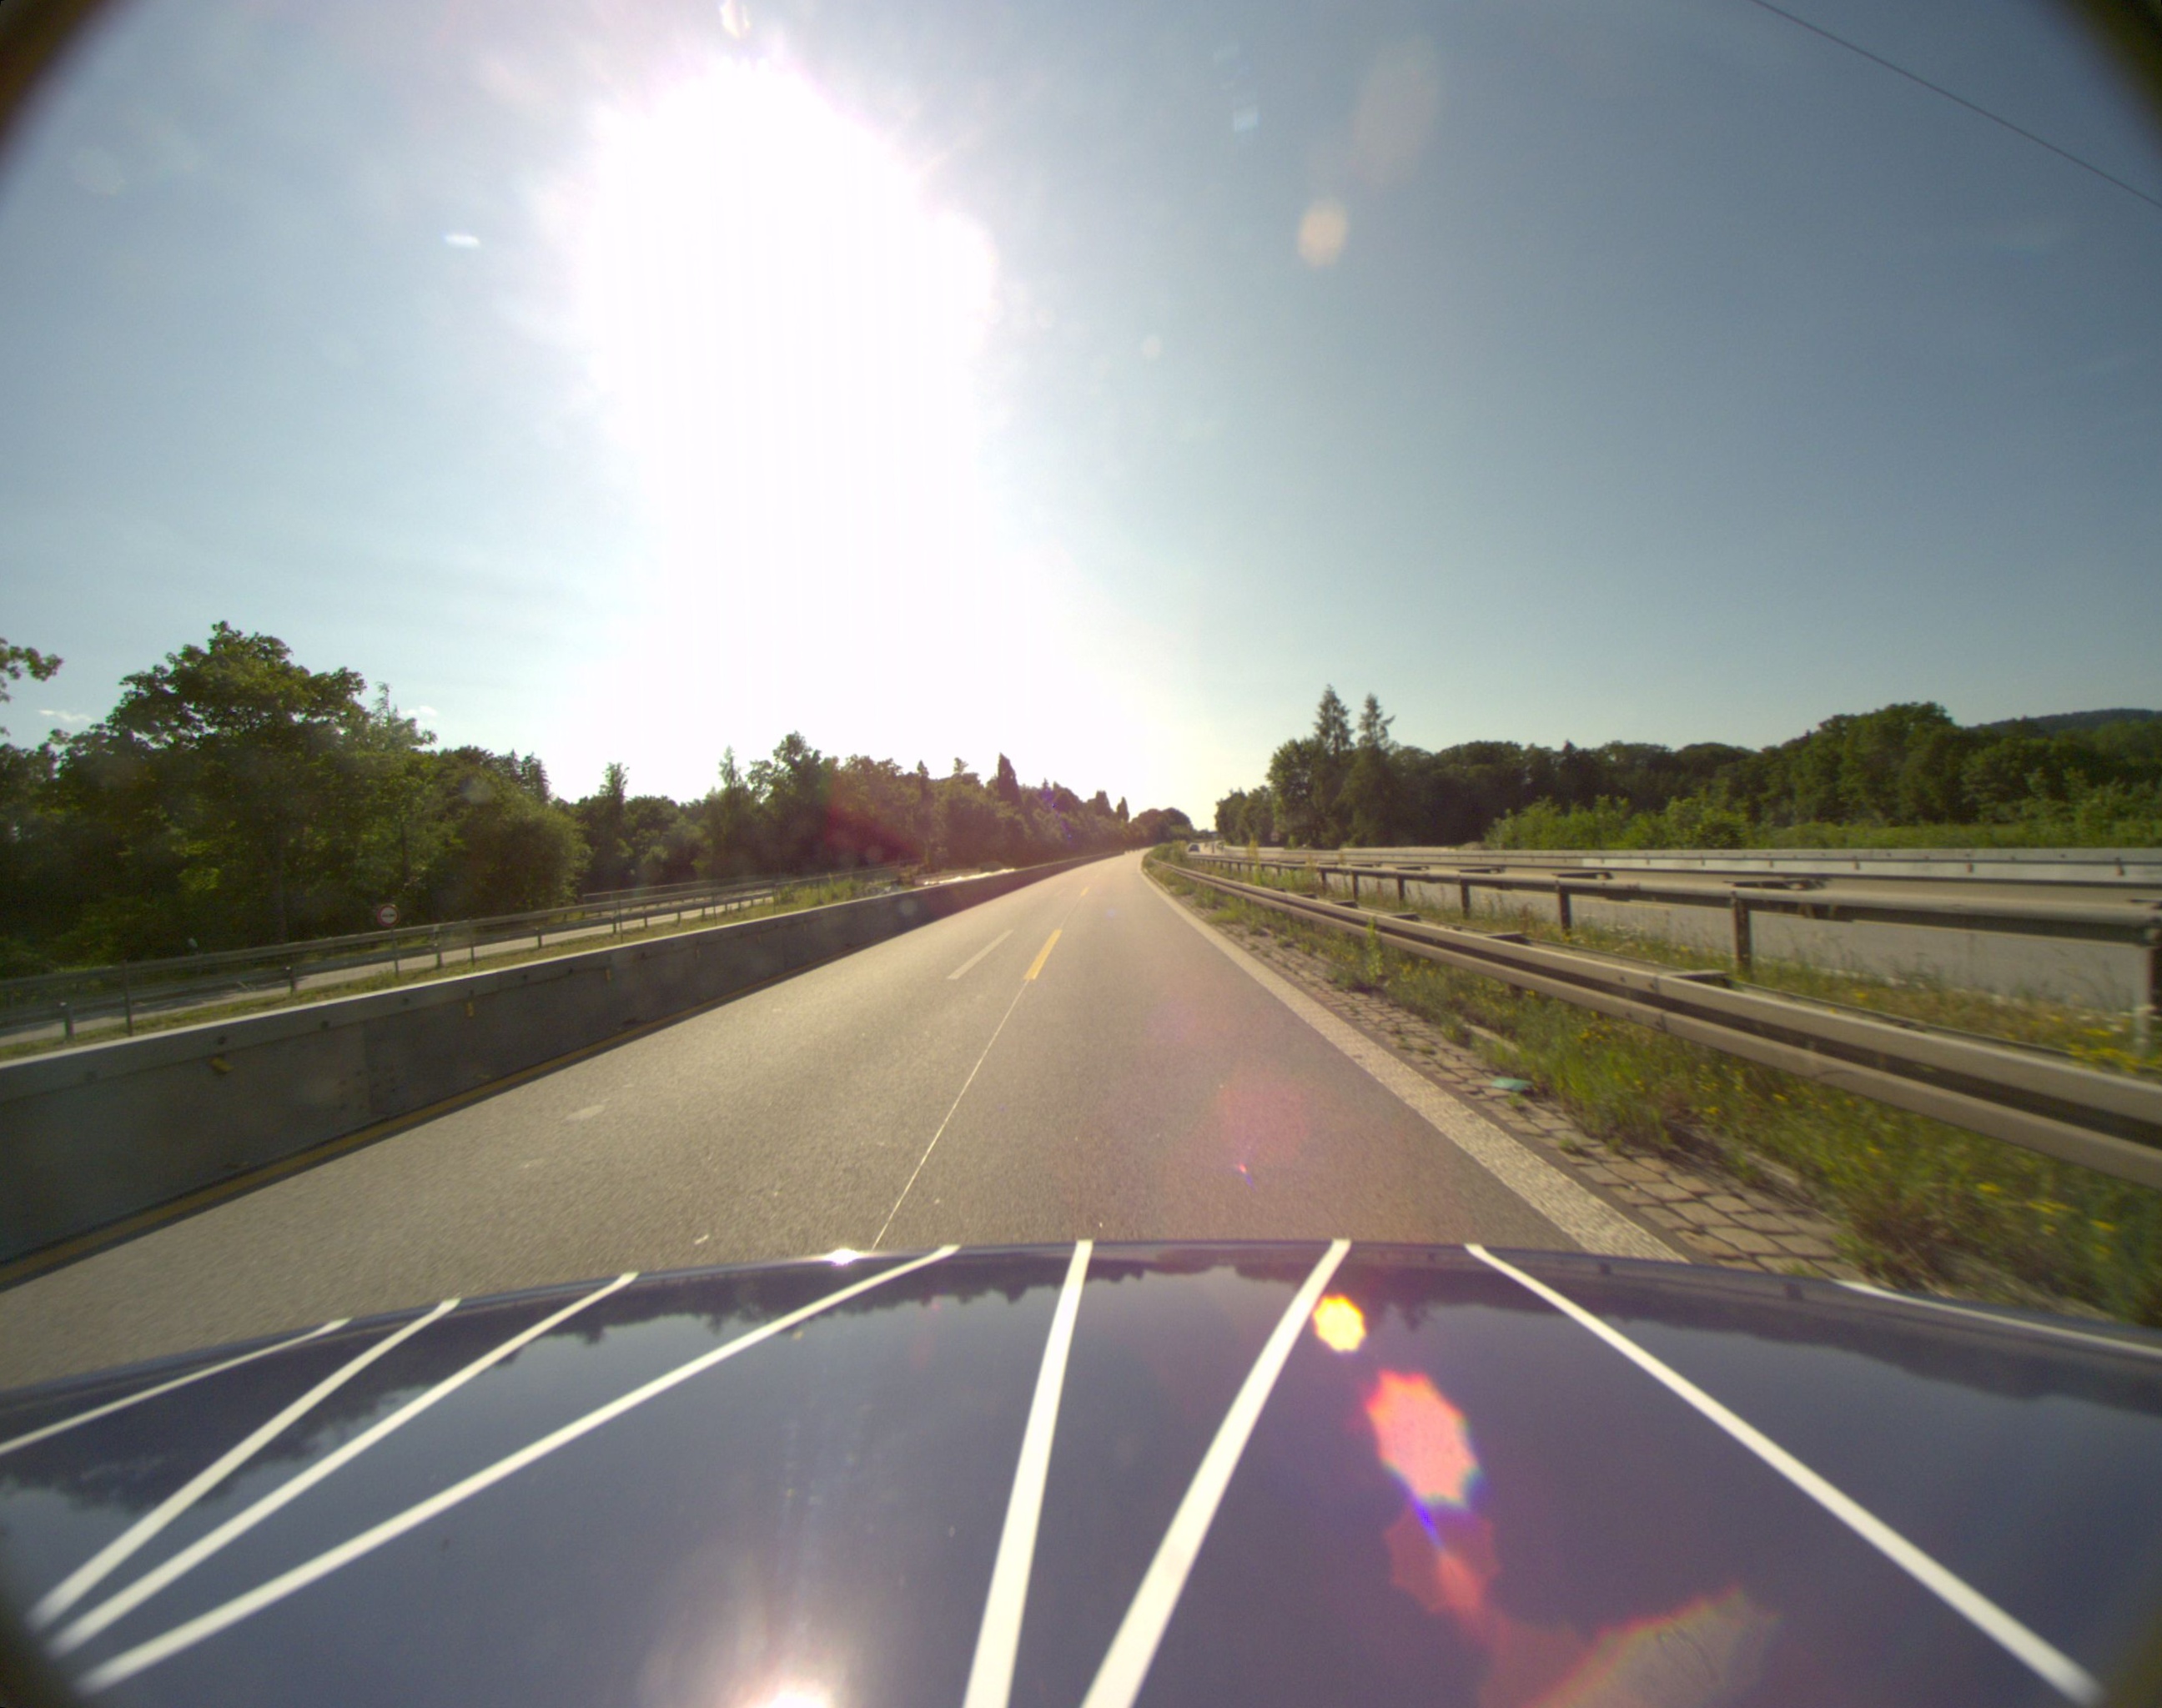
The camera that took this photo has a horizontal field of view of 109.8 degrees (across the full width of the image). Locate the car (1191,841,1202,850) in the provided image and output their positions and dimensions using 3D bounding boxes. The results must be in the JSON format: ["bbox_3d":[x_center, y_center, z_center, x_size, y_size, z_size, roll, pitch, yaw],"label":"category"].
[{"bbox_3d":[19.671,-1.448,129.414,1.763,1.503,4.536,-2,1,6],"label":"car"}]
